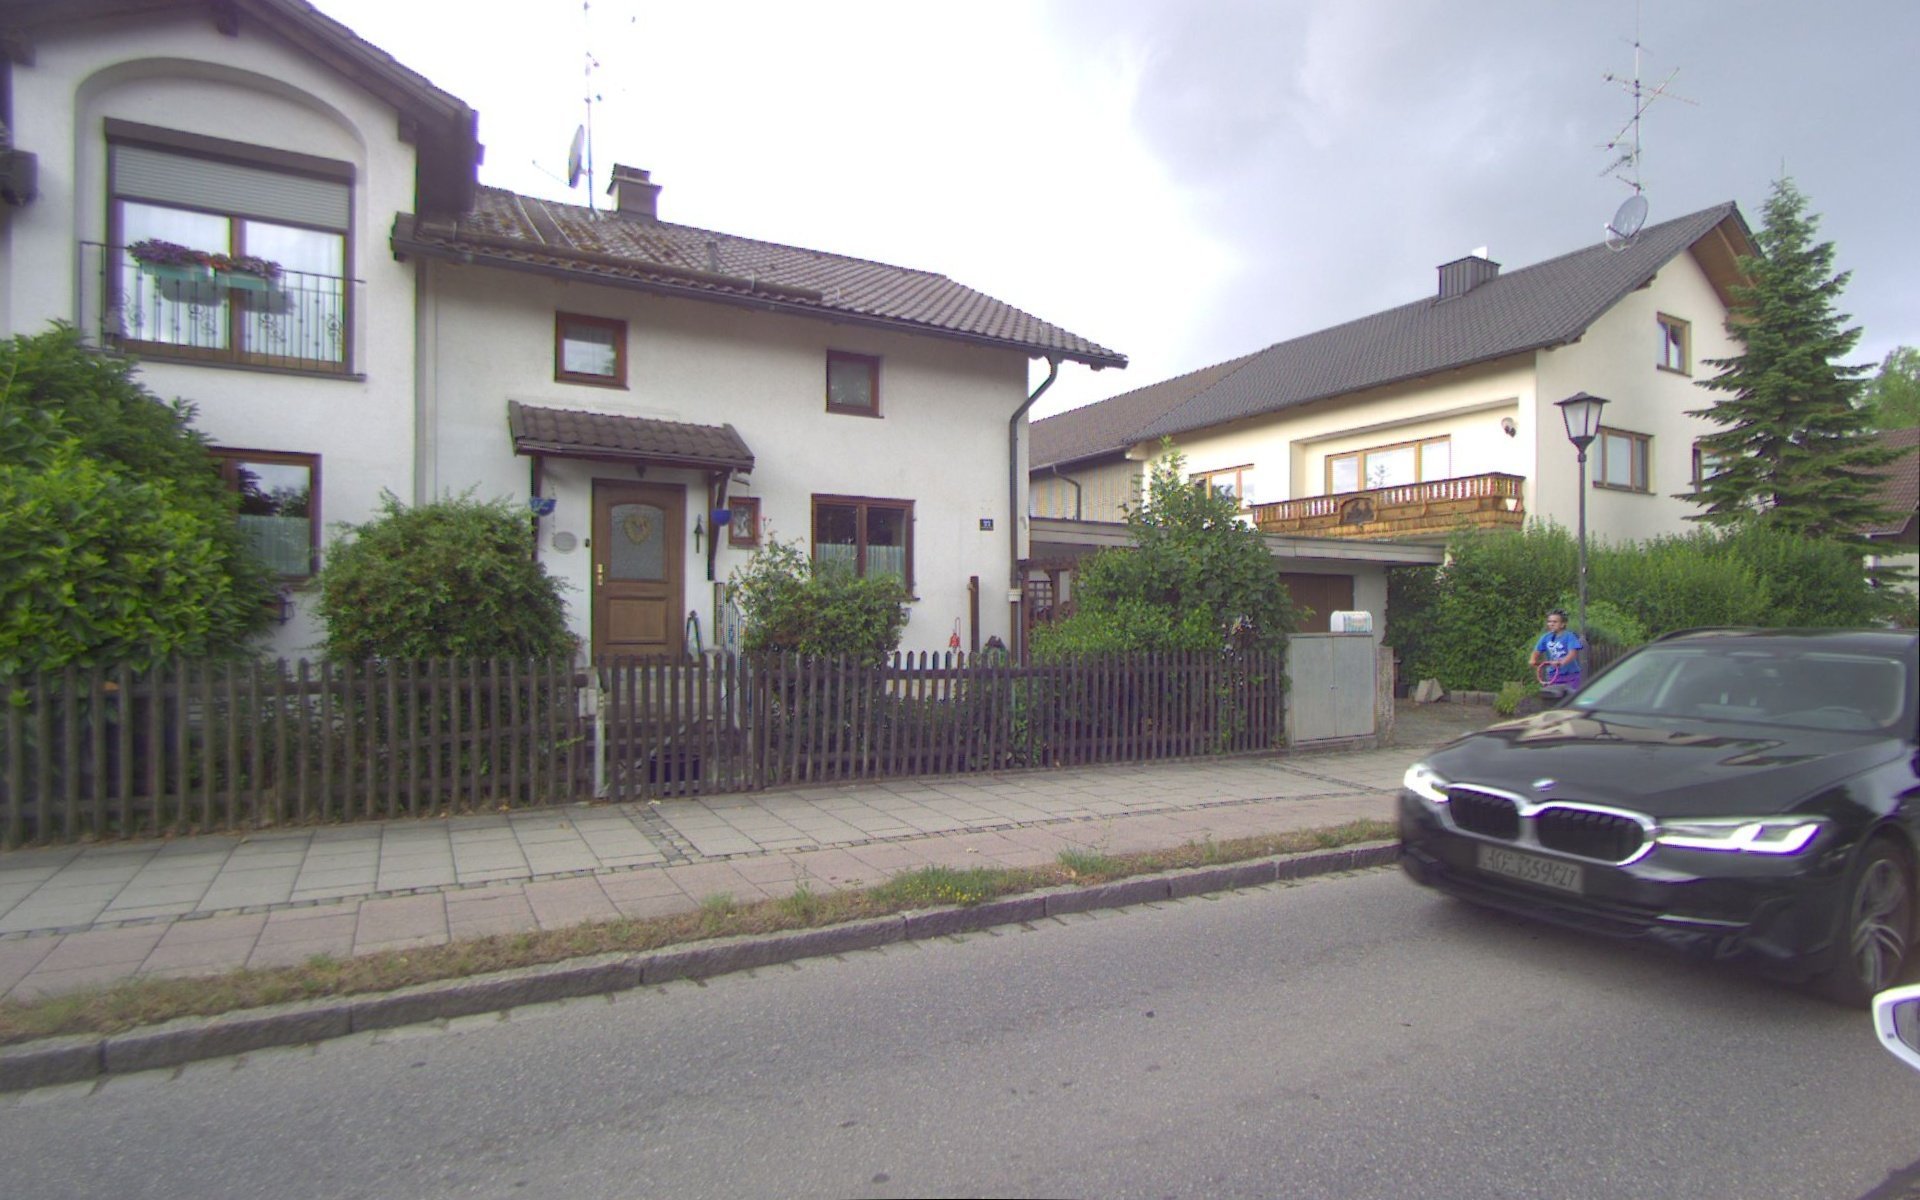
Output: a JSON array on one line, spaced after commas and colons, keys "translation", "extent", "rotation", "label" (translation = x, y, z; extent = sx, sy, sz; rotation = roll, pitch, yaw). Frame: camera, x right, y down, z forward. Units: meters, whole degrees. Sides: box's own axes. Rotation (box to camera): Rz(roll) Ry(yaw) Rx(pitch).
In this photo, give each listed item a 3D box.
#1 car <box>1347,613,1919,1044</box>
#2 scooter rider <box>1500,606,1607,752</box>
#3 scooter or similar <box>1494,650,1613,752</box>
[{"translation": [4.337, 0.844, 5.382], "extent": [4.495, 1.473, 1.838], "rotation": [1, -1, -30], "label": "car"}, {"translation": [6.661, 0.863, 11.283], "extent": [0.791, 1.545, 0.690], "rotation": [1, 1, -30], "label": "scooter rider"}, {"translation": [6.670, 1.106, 11.285], "extent": [1.164, 1.051, 0.658], "rotation": [1, -1, -30], "label": "scooter or similar"}]
